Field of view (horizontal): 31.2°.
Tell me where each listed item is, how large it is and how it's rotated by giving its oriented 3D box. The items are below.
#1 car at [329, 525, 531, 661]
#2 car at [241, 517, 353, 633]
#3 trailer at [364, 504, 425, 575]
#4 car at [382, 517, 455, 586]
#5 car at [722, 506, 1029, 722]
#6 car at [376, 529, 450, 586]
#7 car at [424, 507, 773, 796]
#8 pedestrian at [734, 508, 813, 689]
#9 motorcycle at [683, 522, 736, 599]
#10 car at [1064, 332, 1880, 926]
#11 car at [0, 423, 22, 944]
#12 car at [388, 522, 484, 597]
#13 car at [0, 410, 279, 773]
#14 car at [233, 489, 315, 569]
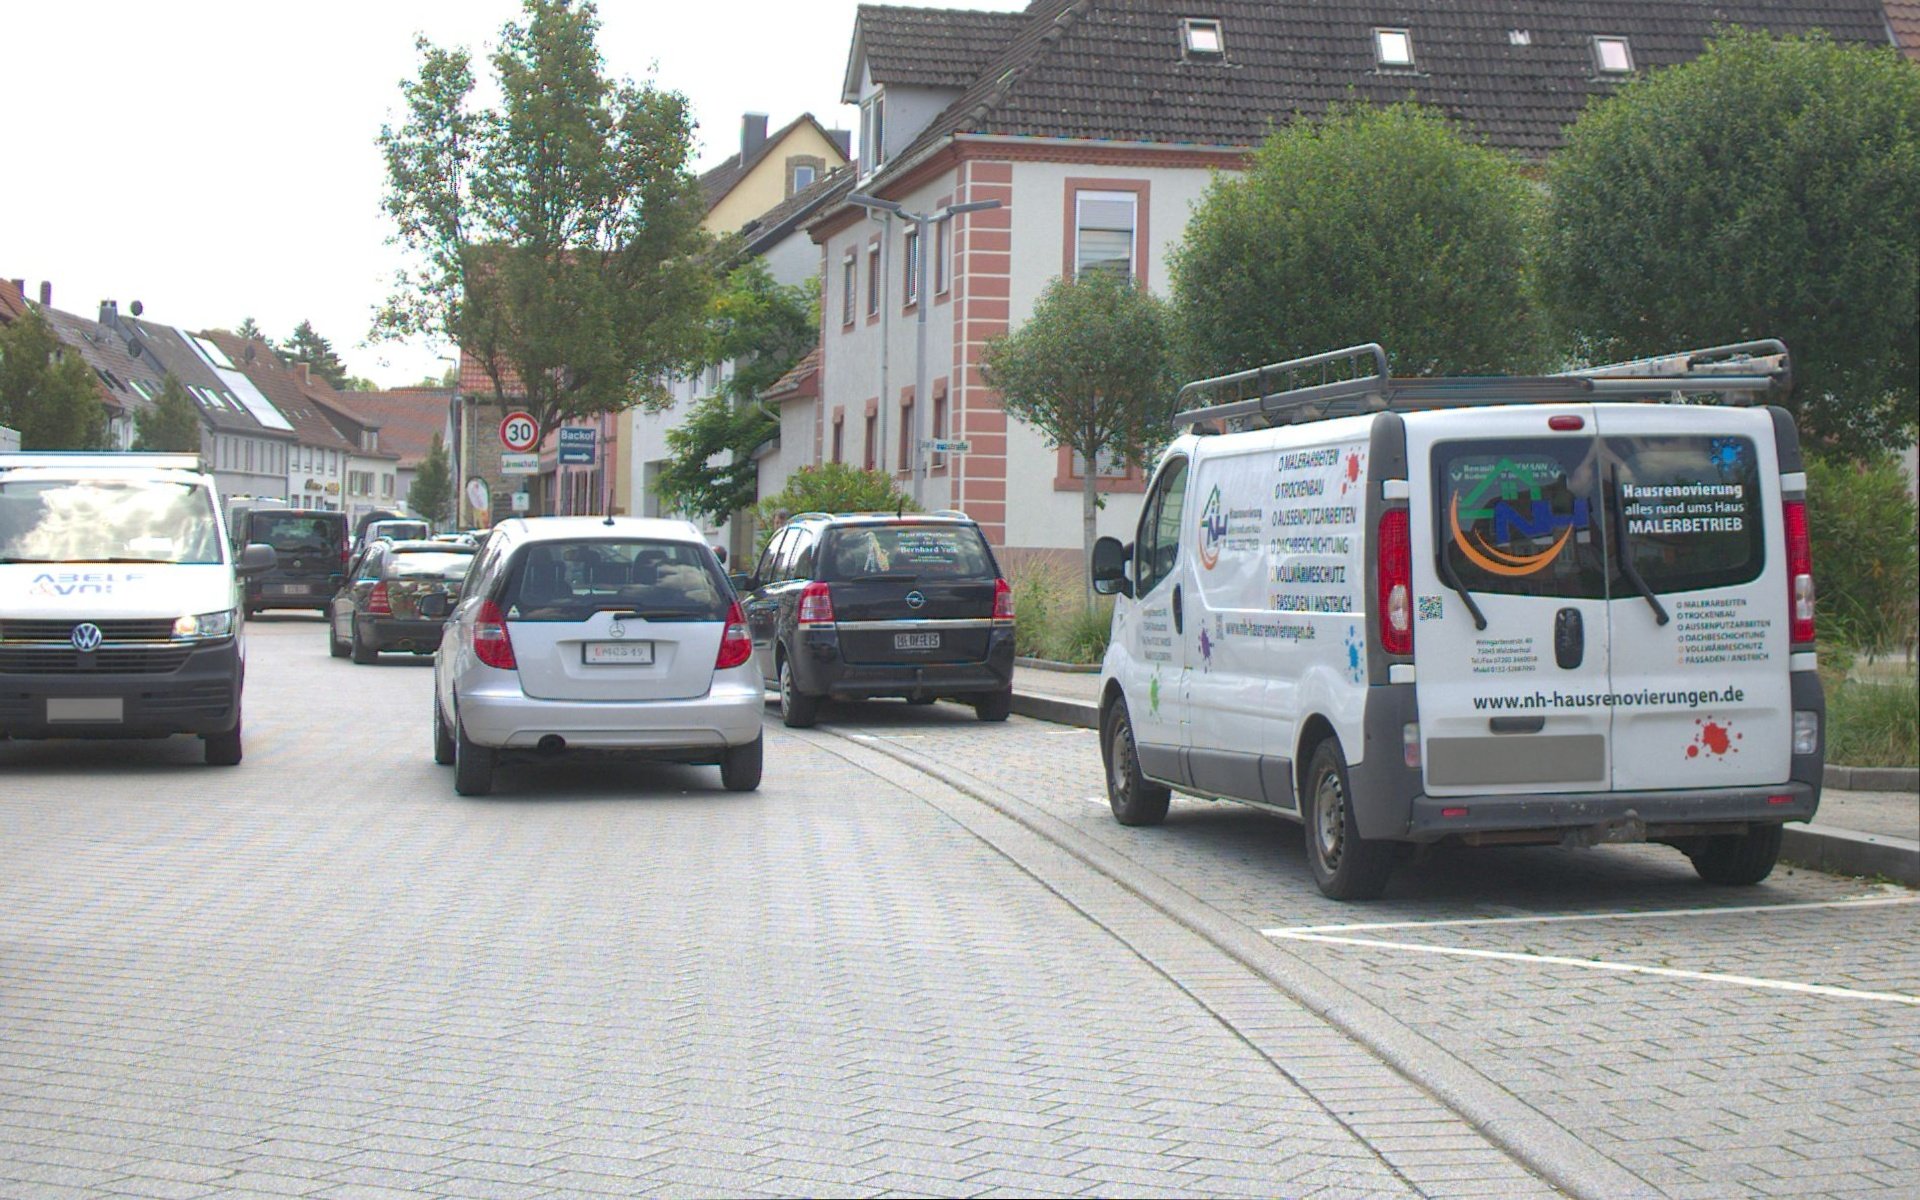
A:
[{"bbox_3d":[-6.078,-0.113,39.095,1.944,1.402,4.001,1,1,-13],"label":"car"},{"bbox_3d":[-11.779,-0.457,61.120,1.768,1.881,4.448,4,0,-11],"label":"car"},{"bbox_3d":[-19.133,-2.052,116.179,1.844,2.346,3.590,0,1,-12],"label":"trailer"},{"bbox_3d":[-16.081,-1.460,101.944,1.891,1.975,4.932,-1,1,-12],"label":"car"},{"bbox_3d":[-0.764,0.061,27.292,1.768,1.559,4.420,1,1,-10],"label":"car"},{"bbox_3d":[-14.878,-1.173,93.339,1.774,1.490,4.163,1,1,-12],"label":"car"},{"bbox_3d":[-2.297,0.232,20.991,1.768,1.589,4.001,0,1,-11],"label":"car"},{"bbox_3d":[-1.701,-0.017,31.304,0.638,1.623,0.620,1,1,-9],"label":"pedestrian"},{"bbox_3d":[-3.766,-0.599,51.700,0.523,1.119,1.068,1,1,-18],"label":"motorcycle"},{"bbox_3d":[2.002,0.039,15.260,1.942,2.170,5.103,-1,1,-11],"label":"car"},{"bbox_3d":[-4.197,0.334,10.134,1.993,1.873,4.867,1,1,-6],"label":"car"},{"bbox_3d":[-12.360,-0.974,80.915,1.993,1.675,4.324,1,1,-12],"label":"car"},{"bbox_3d":[-5.866,-0.100,23.218,1.887,2.178,5.032,1,1,-18],"label":"car"},{"bbox_3d":[-19.474,-1.996,97.563,2.235,2.214,4.001,0,0,-12],"label":"car"}]
